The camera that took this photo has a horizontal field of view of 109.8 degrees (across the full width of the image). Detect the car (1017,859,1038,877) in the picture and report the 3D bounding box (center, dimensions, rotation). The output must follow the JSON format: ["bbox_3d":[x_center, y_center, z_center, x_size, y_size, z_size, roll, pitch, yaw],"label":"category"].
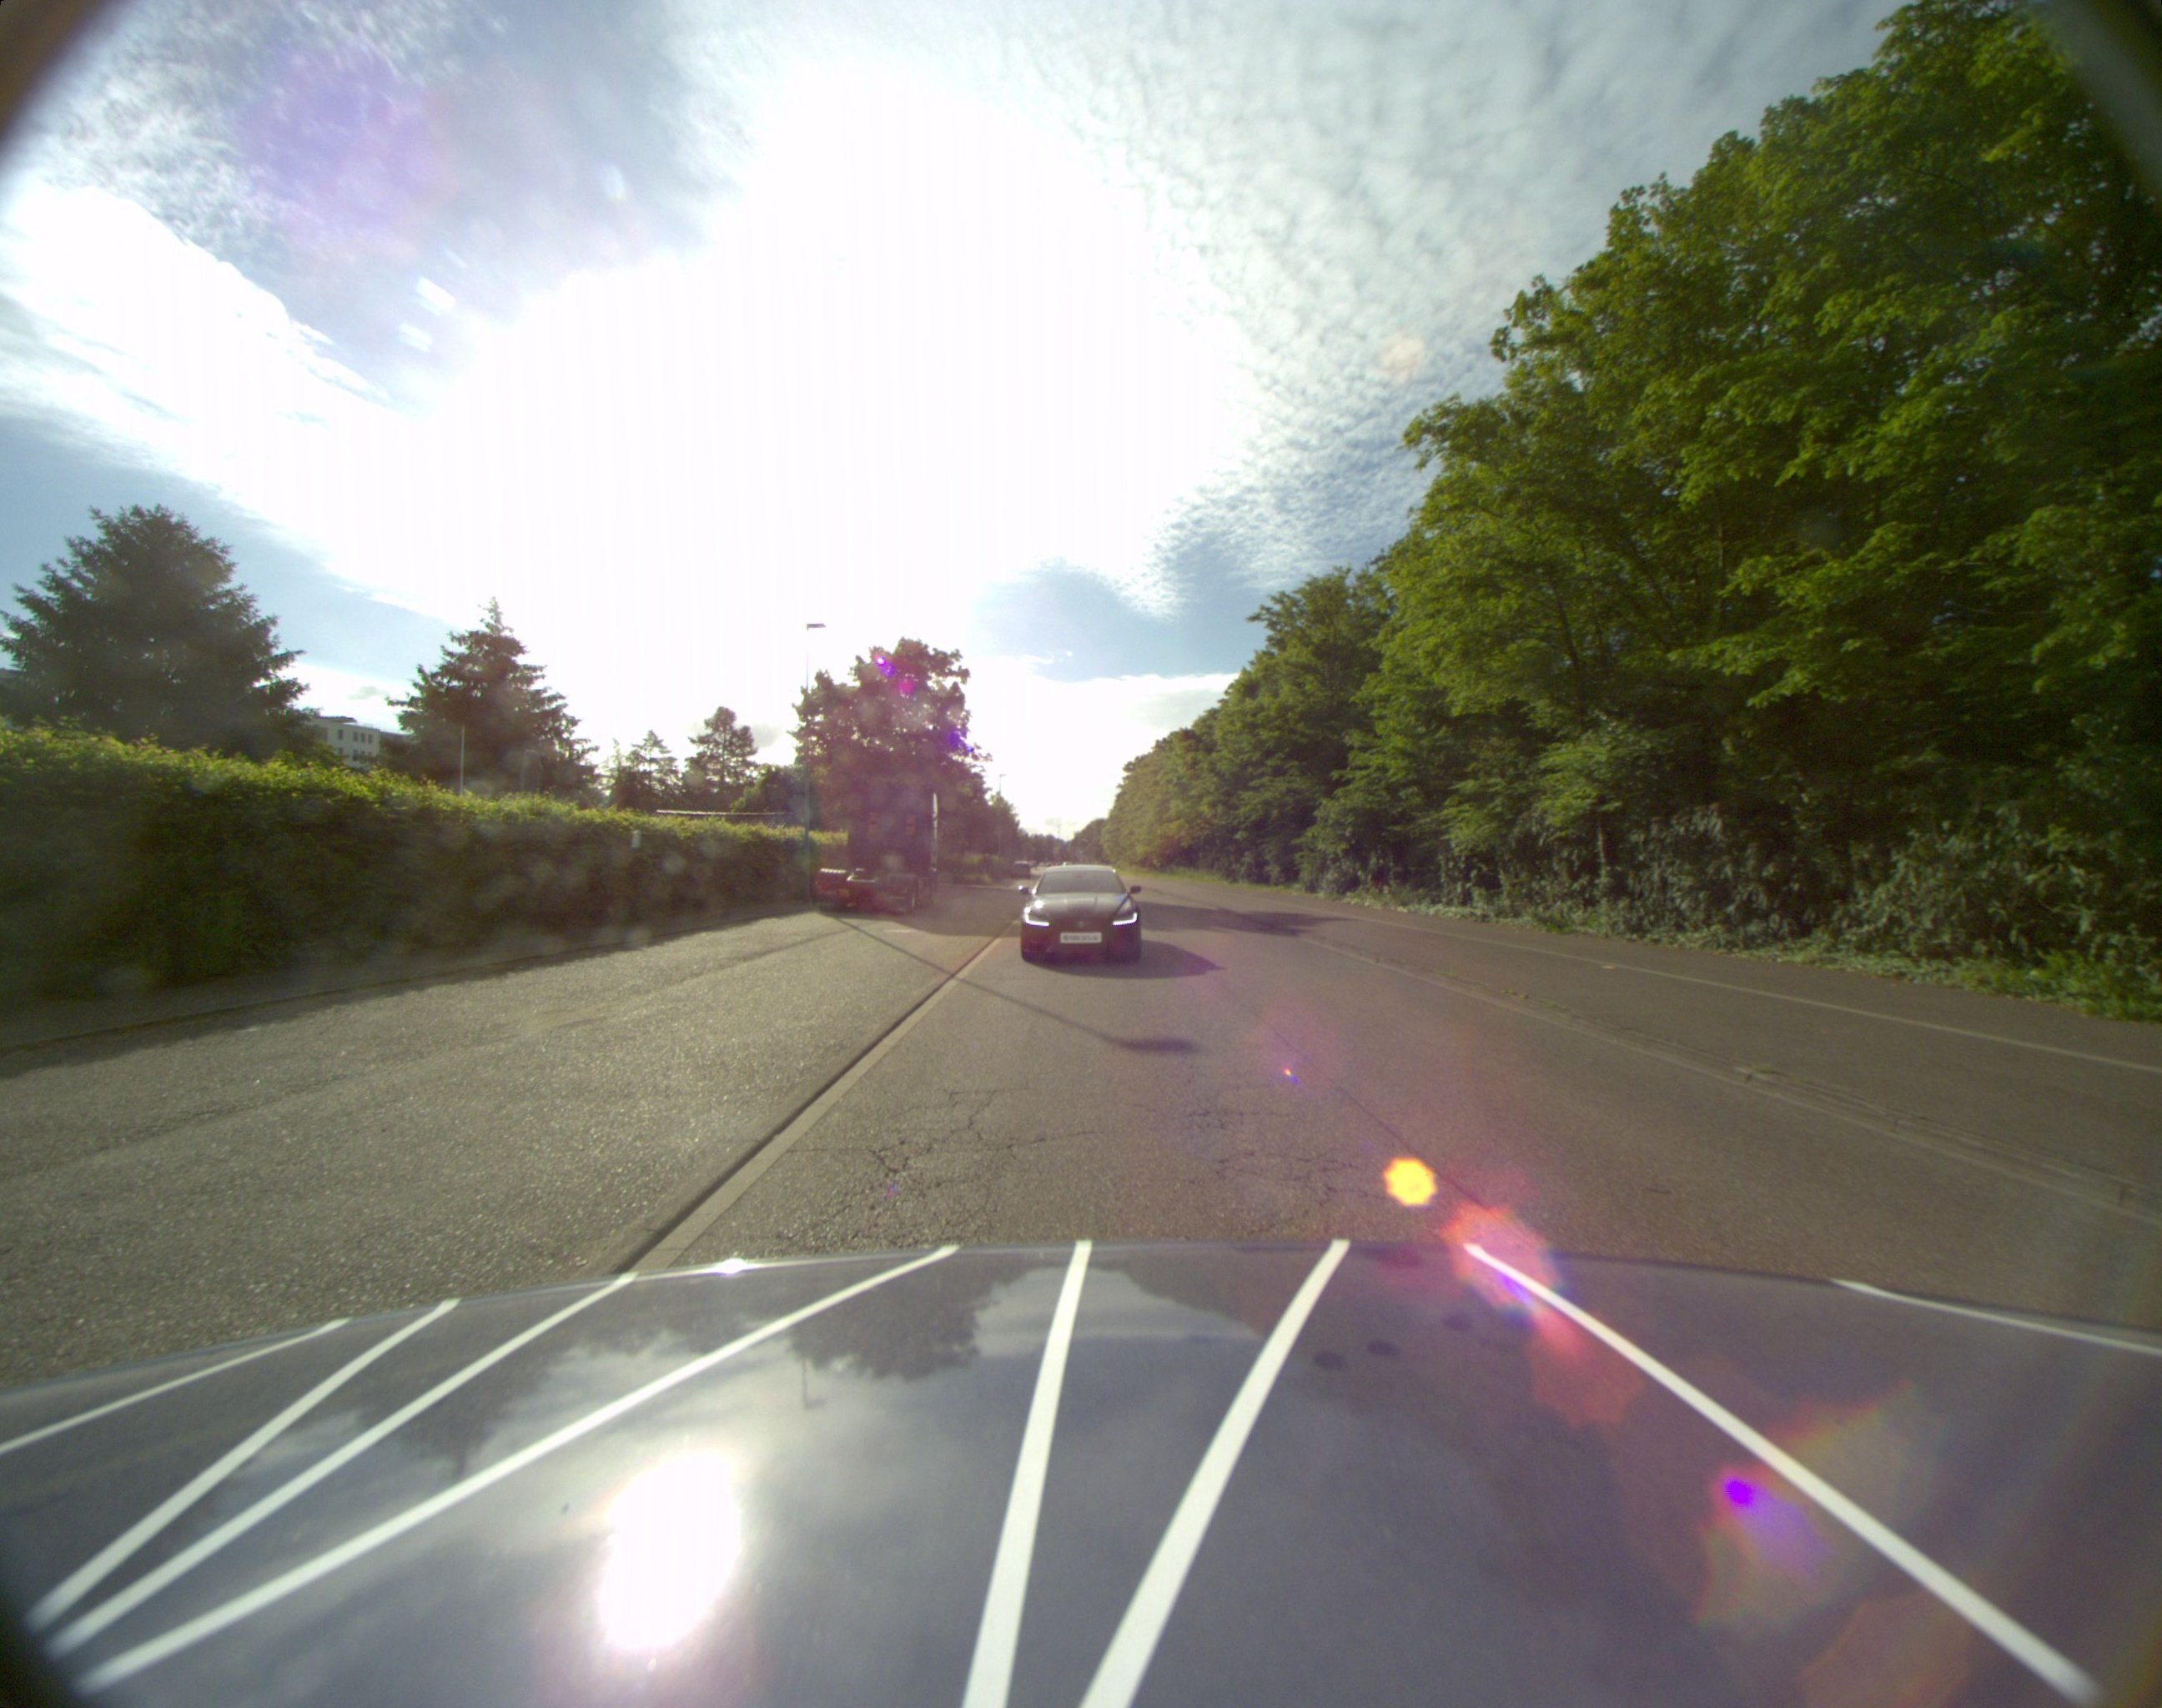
[{"bbox_3d":[-4.859,1.255,69.035,1.751,1.561,3.861,2,0,-2],"label":"car"}]

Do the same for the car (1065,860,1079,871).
[{"bbox_3d":[-1.217,1.581,101.891,1.751,1.380,3.861,2,0,-2],"label":"car"}]

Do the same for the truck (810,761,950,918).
[{"bbox_3d":[-5.766,-0.353,22.877,2.602,3.935,6.282,3,0,-3],"label":"truck"}]

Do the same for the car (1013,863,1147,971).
[{"bbox_3d":[0.006,0.949,13.388,1.936,1.500,4.680,0,0,0],"label":"car"}]
